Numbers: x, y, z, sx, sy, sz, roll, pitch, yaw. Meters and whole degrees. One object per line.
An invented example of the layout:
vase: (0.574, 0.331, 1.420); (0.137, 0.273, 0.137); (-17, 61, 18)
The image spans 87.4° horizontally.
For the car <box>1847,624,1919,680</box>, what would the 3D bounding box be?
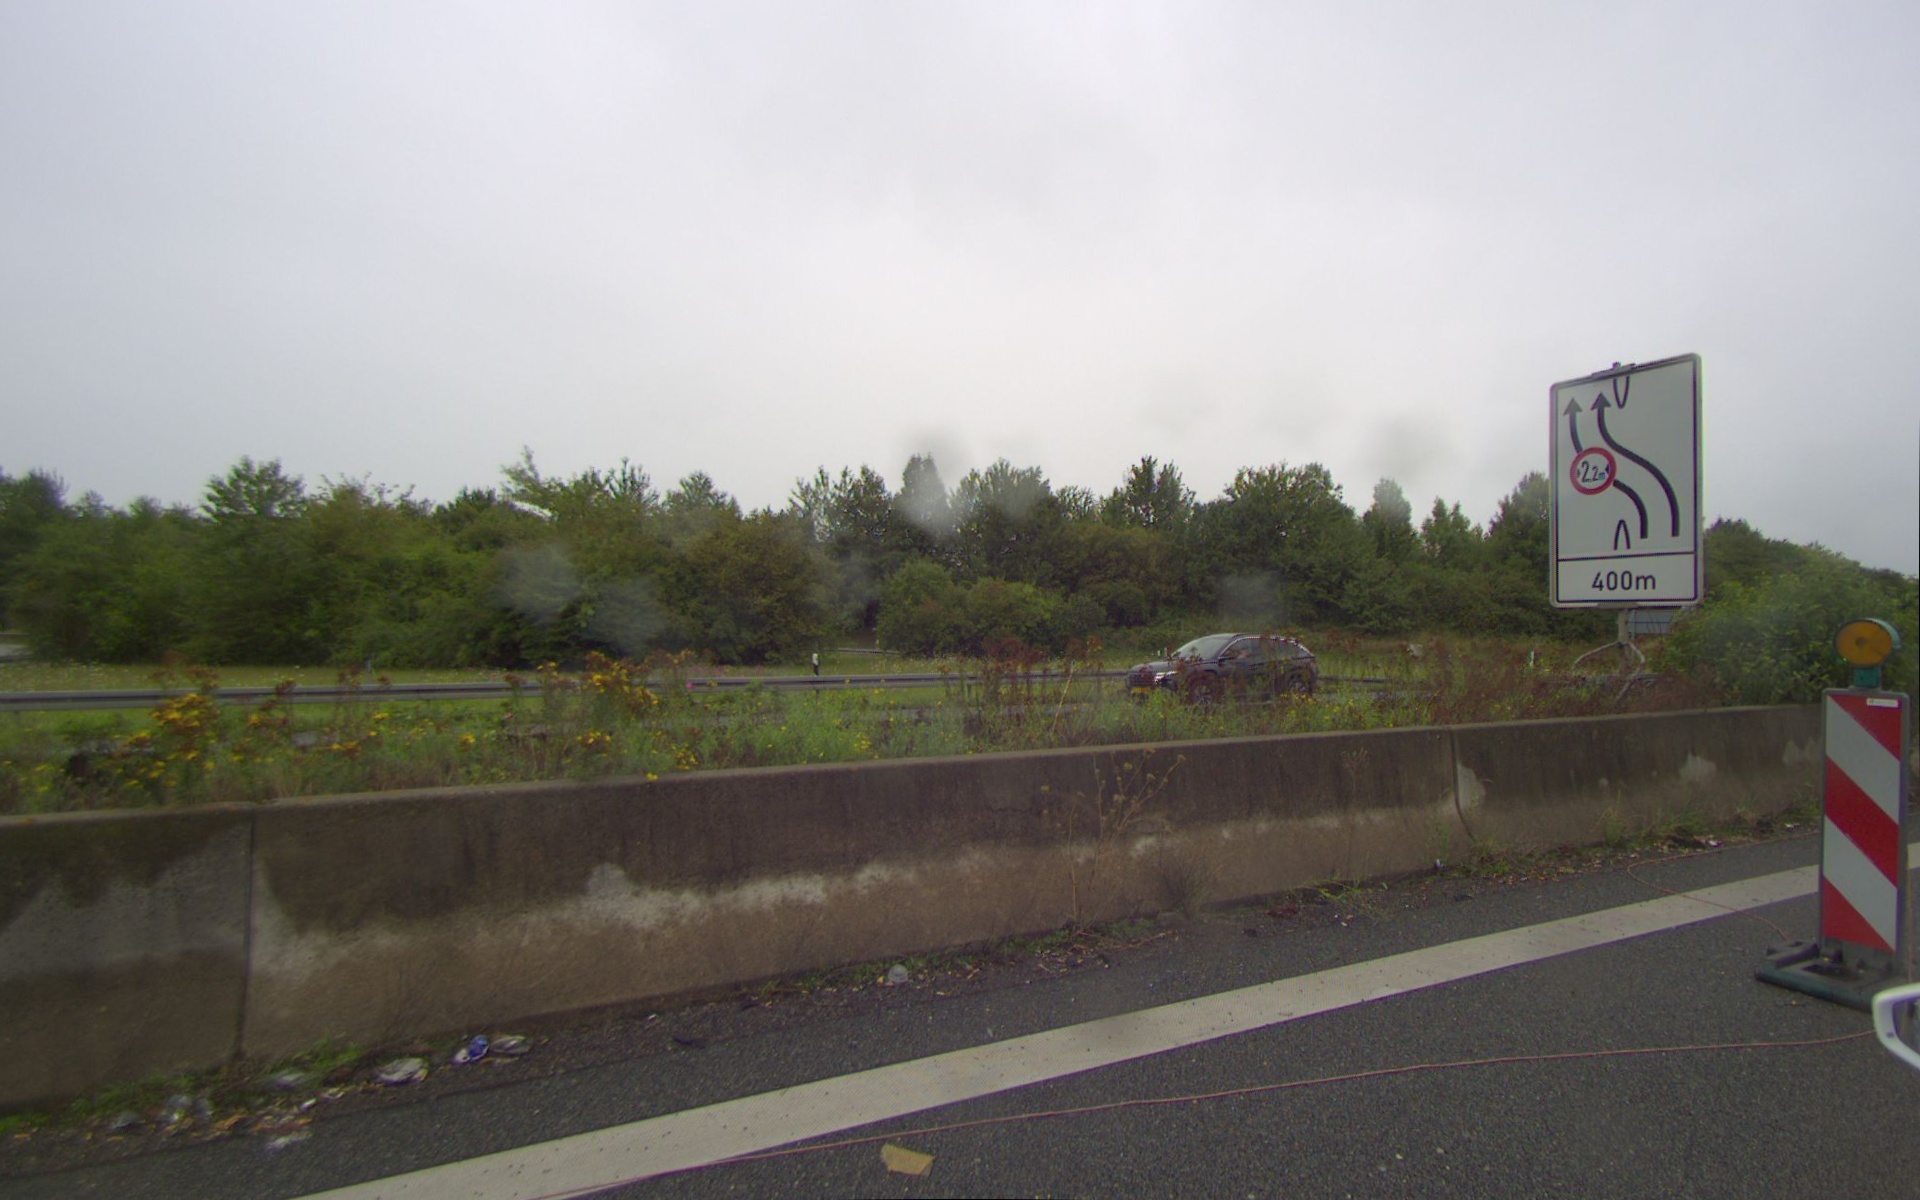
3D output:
car: (28.583, 1.497, 29.966); (4.692, 1.563, 1.859); (1, -2, -31)

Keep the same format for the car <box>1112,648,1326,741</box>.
car: (5.511, 1.905, 21.261); (4.245, 1.684, 1.984); (1, -2, -30)
